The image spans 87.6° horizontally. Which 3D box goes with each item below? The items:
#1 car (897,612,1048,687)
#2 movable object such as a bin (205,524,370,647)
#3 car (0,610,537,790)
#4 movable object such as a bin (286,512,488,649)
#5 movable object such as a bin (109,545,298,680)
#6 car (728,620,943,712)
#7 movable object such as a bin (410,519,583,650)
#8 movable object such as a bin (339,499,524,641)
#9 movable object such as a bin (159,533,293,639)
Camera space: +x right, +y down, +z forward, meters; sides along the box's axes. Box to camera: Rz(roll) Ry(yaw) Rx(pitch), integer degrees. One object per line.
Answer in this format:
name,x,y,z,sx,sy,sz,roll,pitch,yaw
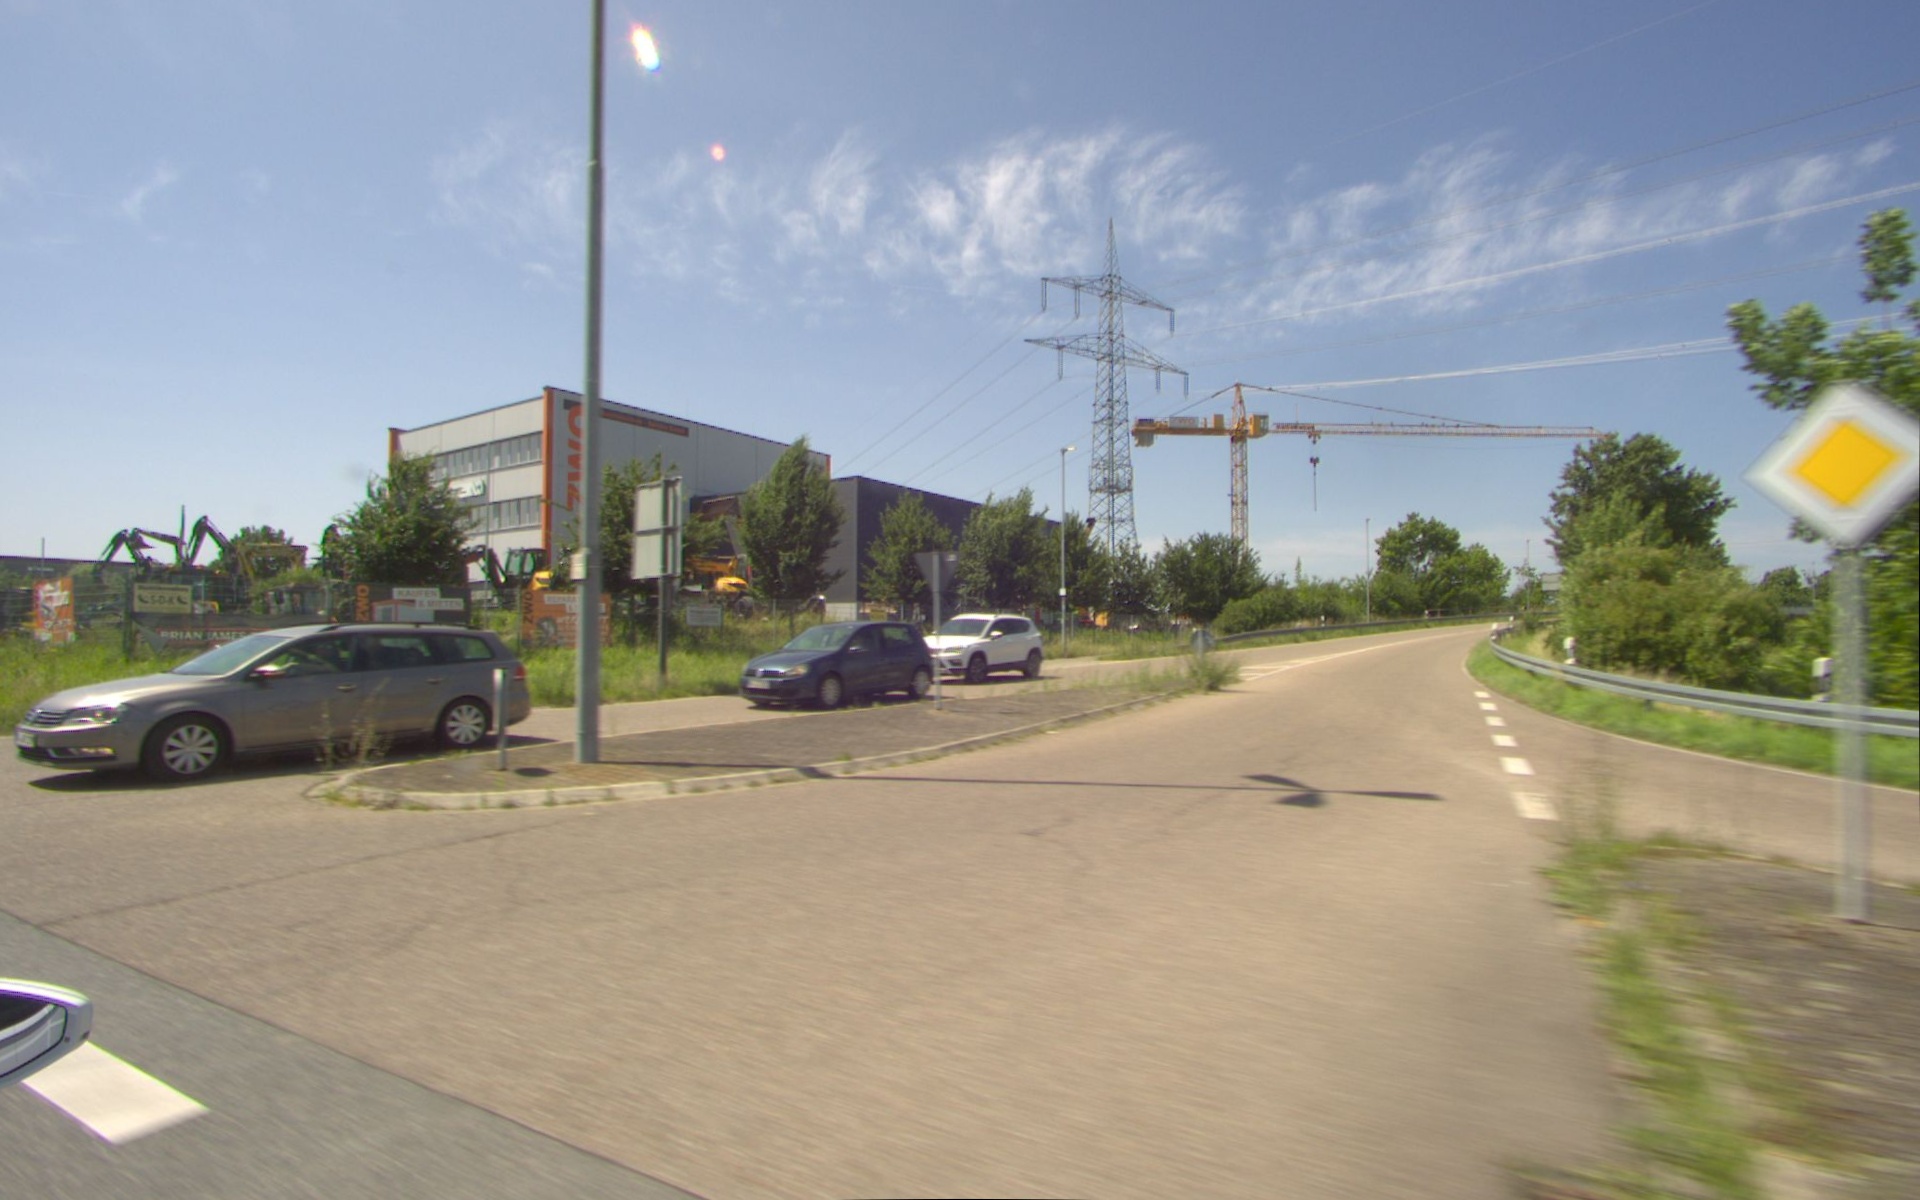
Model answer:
car,0.403,1.156,24.690,1.734,1.643,4.074,1,0,35
movable object such as a bin,-32.354,-0.501,48.381,3.179,5.331,5.706,-3,-5,35
car,-7.191,0.924,10.905,1.887,1.527,4.503,0,-2,33
movable object such as a bin,-24.850,-0.591,43.719,3.757,5.208,6.579,-3,-5,35
movable object such as a bin,-20.315,0.484,26.872,5.030,3.288,2.321,-3,-5,32
car,-2.119,1.109,18.060,1.613,1.459,3.989,0,-2,35
movable object such as a bin,-17.212,-0.393,37.441,2.797,4.325,5.075,-3,-5,35
movable object such as a bin,-21.731,-1.024,41.471,3.068,5.165,5.907,-3,-5,35
movable object such as a bin,-39.407,-0.602,53.875,2.742,5.114,5.075,-3,-5,35
